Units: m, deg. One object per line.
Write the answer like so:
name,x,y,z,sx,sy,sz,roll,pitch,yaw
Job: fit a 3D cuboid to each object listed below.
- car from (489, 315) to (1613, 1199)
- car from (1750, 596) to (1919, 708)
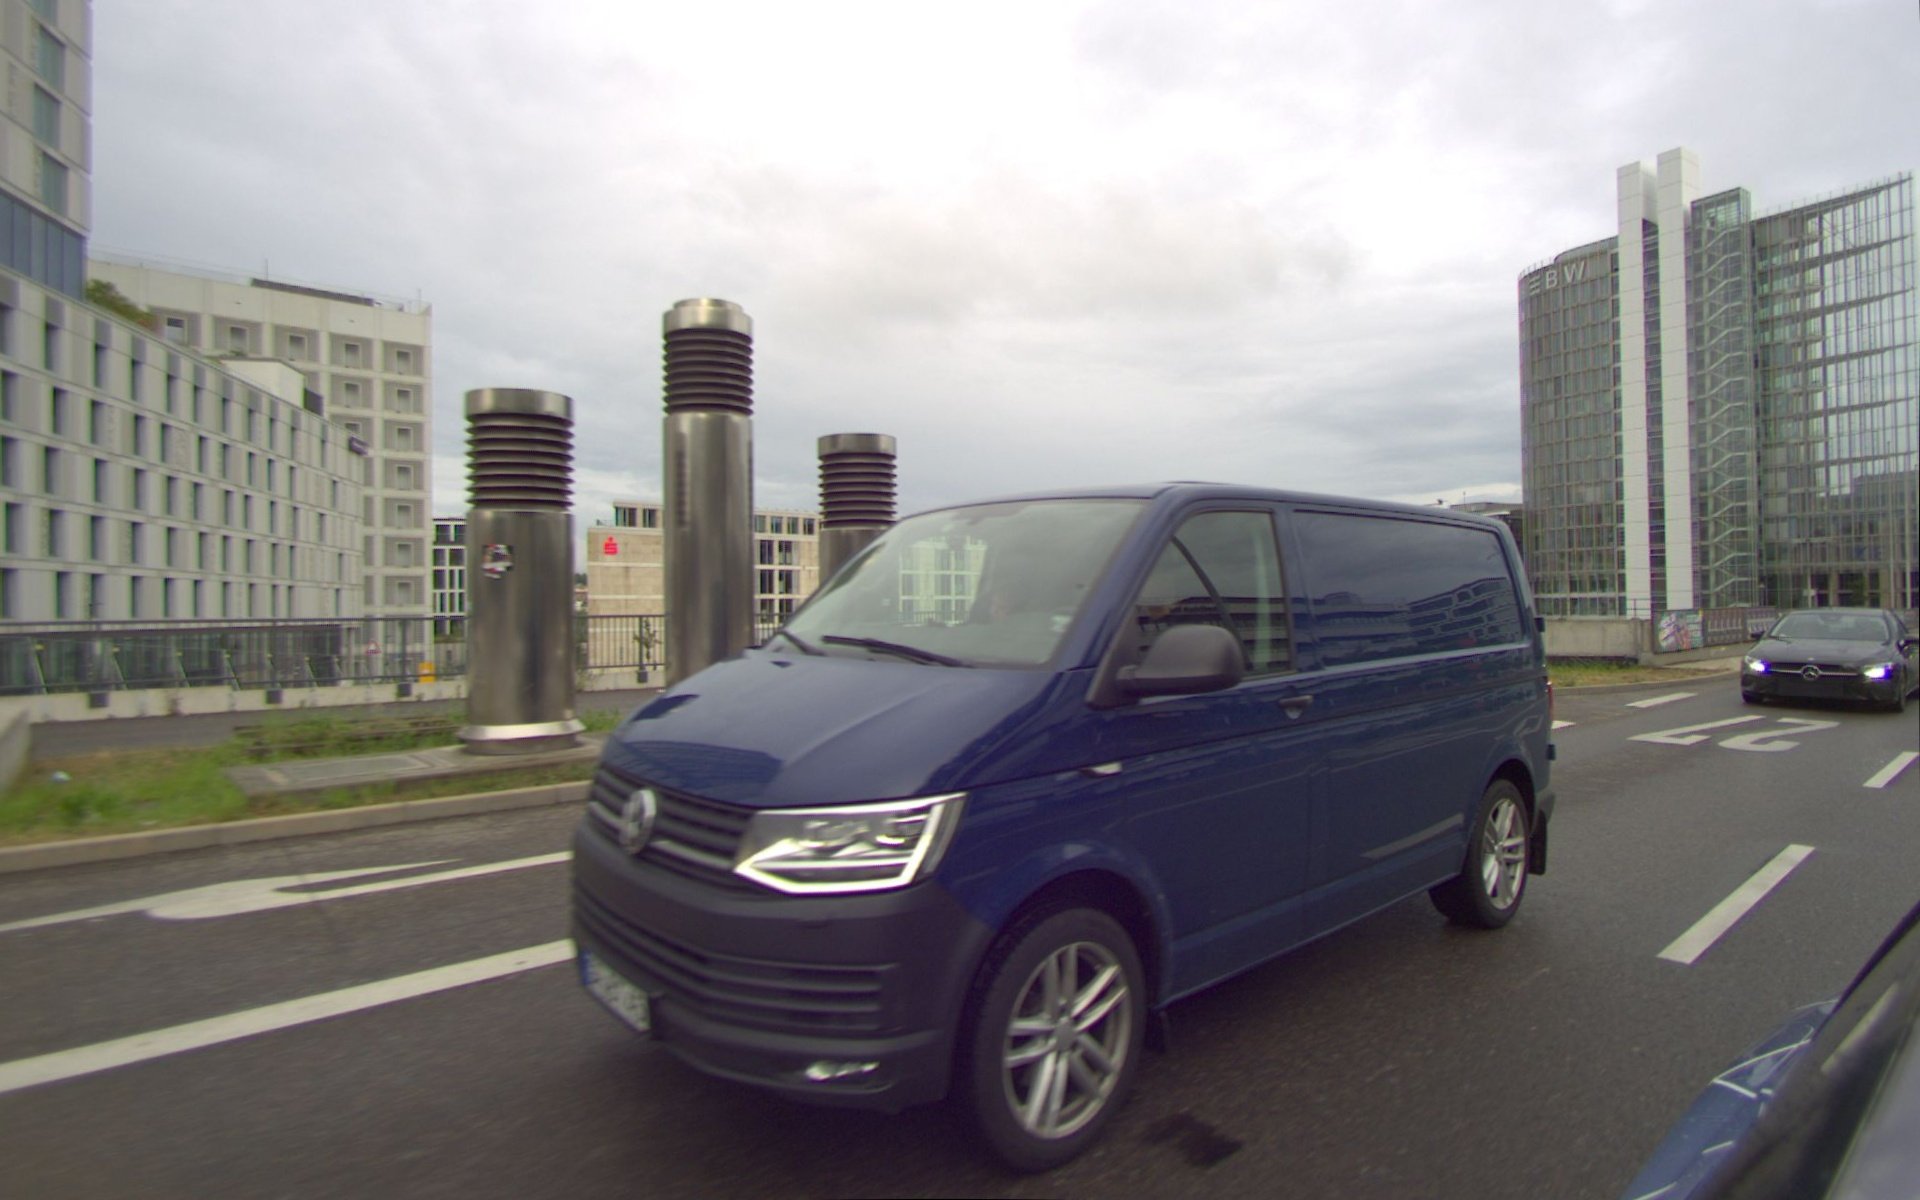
car,0.854,0.410,4.459,4.952,1.906,2.036,1,-2,-40
car,13.306,0.660,15.051,4.083,1.393,1.726,-1,1,-41
